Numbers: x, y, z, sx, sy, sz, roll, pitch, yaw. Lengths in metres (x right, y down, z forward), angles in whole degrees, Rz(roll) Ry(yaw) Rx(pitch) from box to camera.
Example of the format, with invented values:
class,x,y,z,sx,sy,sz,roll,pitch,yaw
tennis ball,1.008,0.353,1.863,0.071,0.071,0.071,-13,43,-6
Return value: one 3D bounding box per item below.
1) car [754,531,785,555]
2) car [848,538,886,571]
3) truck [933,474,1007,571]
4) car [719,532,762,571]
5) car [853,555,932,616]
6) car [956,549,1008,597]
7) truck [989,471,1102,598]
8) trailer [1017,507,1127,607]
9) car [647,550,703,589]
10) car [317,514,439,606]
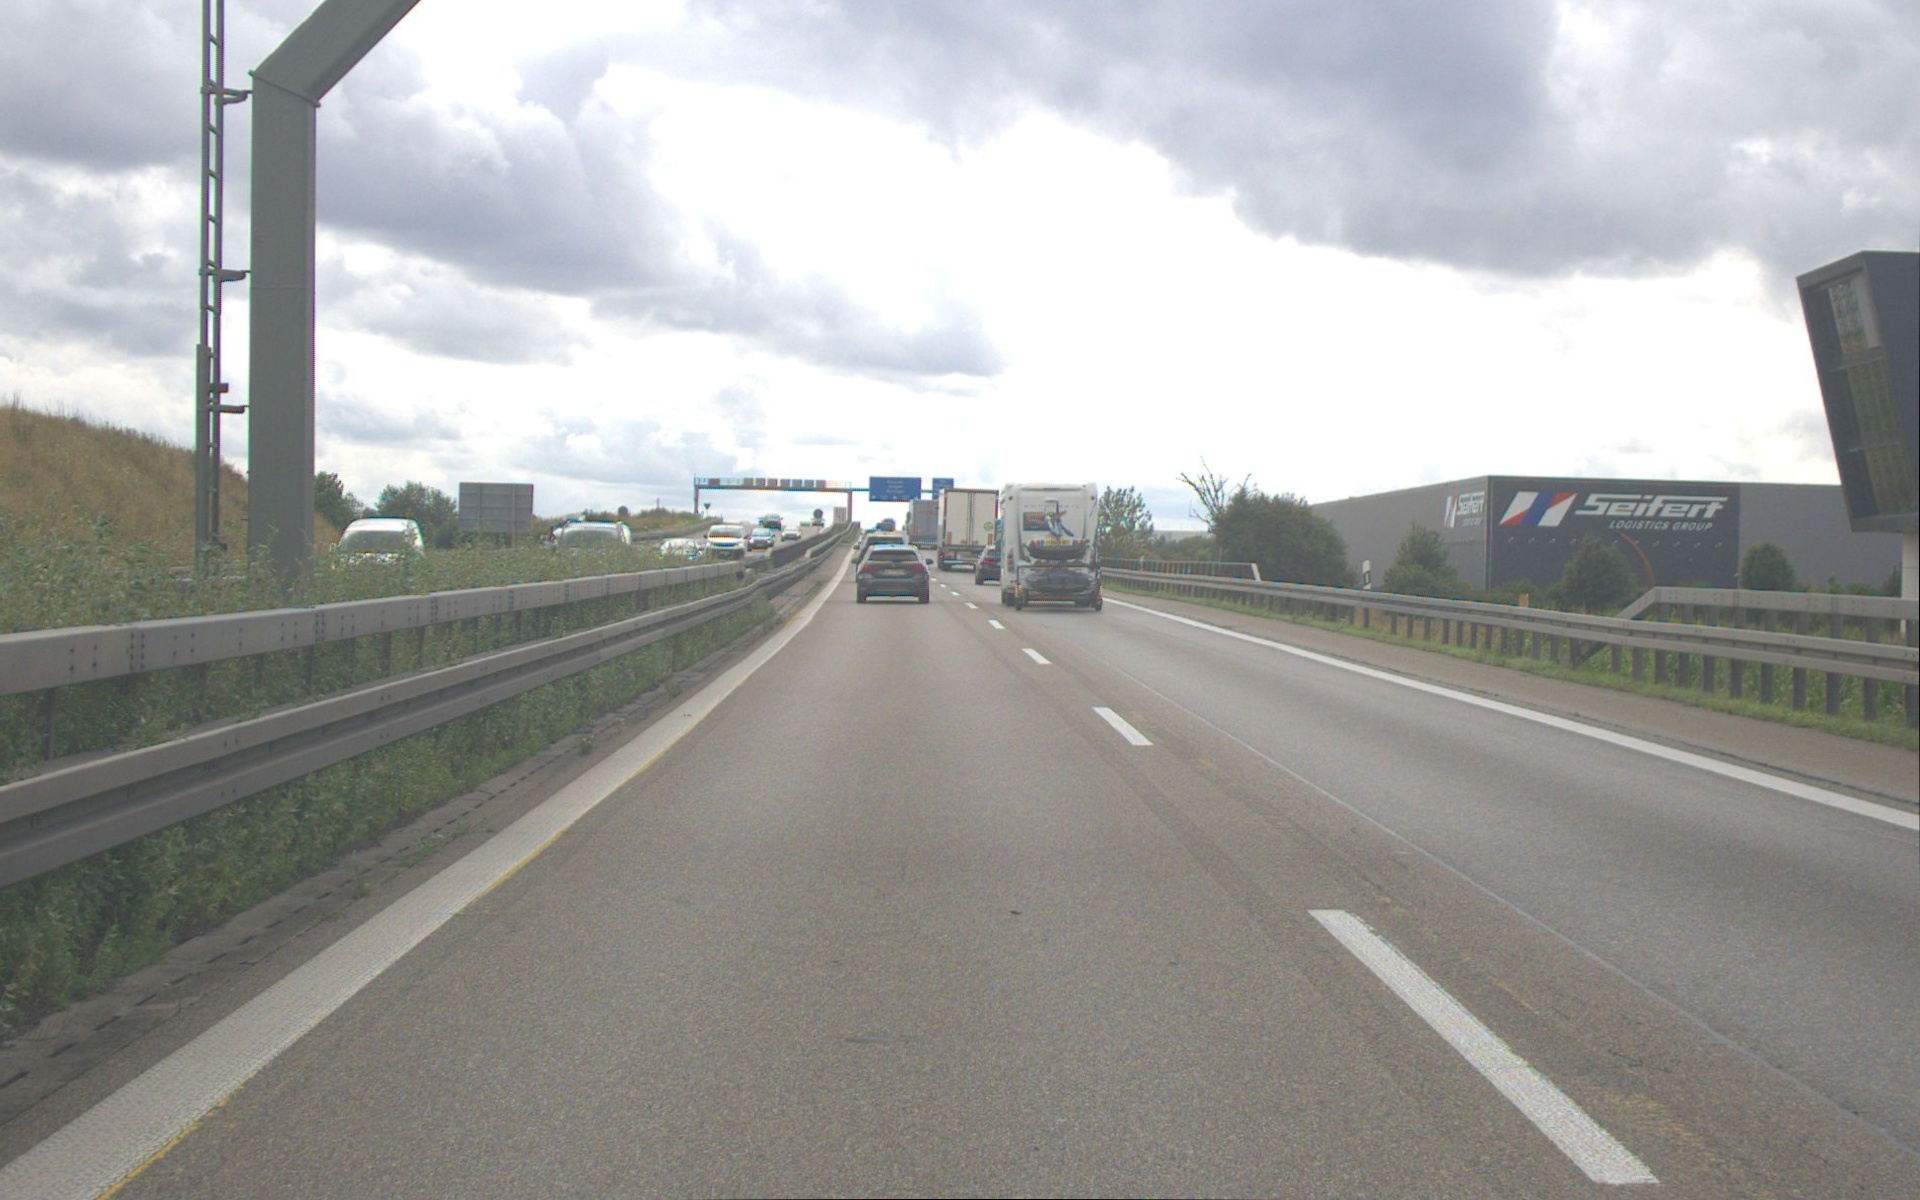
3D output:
class,x,y,z,sx,sy,sz,roll,pitch,yaw
car,-12.731,-3.800,229.958,1.841,1.571,4.000,1,0,-1
car,-5.194,-2.551,191.790,1.943,1.769,3.696,1,0,1
truck,0.440,-3.724,167.857,3.339,4.519,8.017,1,0,-1
car,-10.916,-2.405,171.077,1.828,1.878,5.419,1,0,-1
car,-1.661,-0.362,85.769,1.746,1.448,4.000,1,0,1
car,0.818,-0.959,124.079,1.801,1.679,4.000,1,0,1
truck,2.034,-1.550,83.862,2.482,2.940,5.815,1,0,-1
trailer,2.475,-0.944,76.570,2.338,2.129,4.000,1,0,1
car,-10.891,-1.162,131.675,1.811,1.397,4.406,1,0,-1
car,-13.213,-0.927,78.282,1.993,2.007,4.708,1,1,-1
